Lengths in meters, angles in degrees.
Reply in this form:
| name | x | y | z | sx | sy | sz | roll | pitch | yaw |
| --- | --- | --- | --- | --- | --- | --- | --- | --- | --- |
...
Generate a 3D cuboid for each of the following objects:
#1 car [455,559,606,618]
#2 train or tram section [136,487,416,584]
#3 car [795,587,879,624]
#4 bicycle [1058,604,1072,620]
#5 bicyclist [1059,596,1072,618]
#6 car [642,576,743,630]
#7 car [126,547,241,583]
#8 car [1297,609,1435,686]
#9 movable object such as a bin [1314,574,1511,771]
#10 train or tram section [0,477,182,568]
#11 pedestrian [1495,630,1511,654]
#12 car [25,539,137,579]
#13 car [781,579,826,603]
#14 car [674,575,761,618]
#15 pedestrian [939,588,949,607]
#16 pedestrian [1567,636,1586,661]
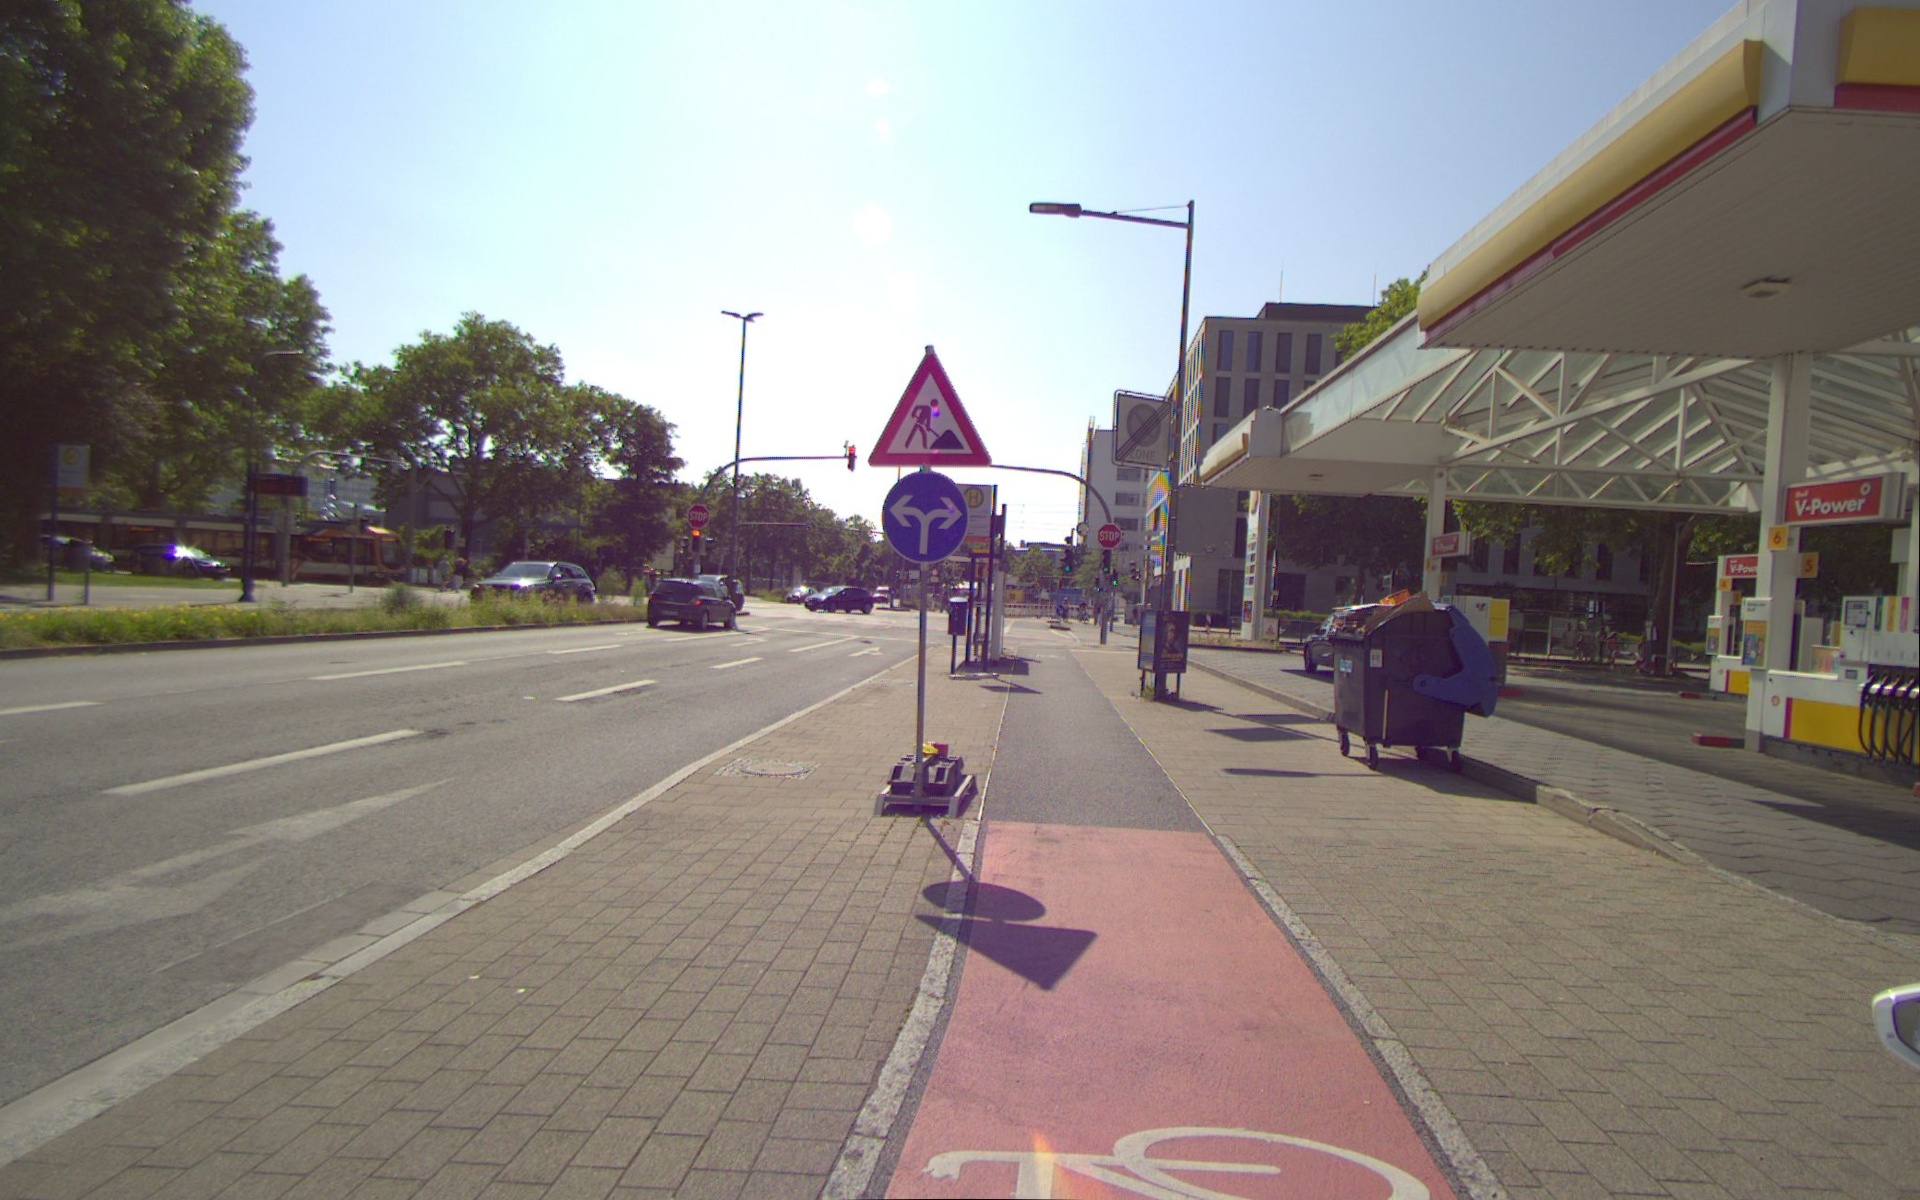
| name | x | y | z | sx | sy | sz | roll | pitch | yaw |
| --- | --- | --- | --- | --- | --- | --- | --- | --- | --- |
| car | -13.129 | -0.328 | 31.193 | 1.960 | 1.633 | 5.660 | 1 | 0 | 4 |
| train or tram section | -39.049 | -3.647 | 57.487 | 14.646 | 4.549 | 2.329 | 3 | 0 | 3 |
| car | -6.849 | 0.340 | 56.162 | 1.971 | 1.792 | 4.368 | 4 | 0 | 42 |
| bicycle | 7.834 | 0.906 | 74.939 | 0.628 | 1.096 | 2.024 | 4 | 0 | -5 |
| bicyclist | 7.852 | 0.497 | 74.958 | 0.628 | 1.601 | 1.172 | 4 | 1 | -5 |
| car | -8.039 | 0.088 | 30.528 | 1.652 | 1.384 | 4.003 | 5 | 0 | 4 |
| car | -36.713 | -1.647 | 47.552 | 3.922 | 1.533 | 1.868 | 2 | 0 | -2 |
| car | 9.235 | 1.015 | 23.199 | 1.714 | 1.552 | 4.001 | 2 | 0 | 4 |
| movable object such as a bin | 4.243 | 0.642 | 9.577 | 1.316 | 1.710 | 1.338 | 1 | 0 | 5 |
| train or tram section | -53.759 | -4.655 | 58.365 | 15.608 | 4.549 | 2.329 | 3 | 0 | 3 |
| pedestrian | 27.047 | 2.102 | 50.026 | 0.490 | 1.153 | 0.524 | 4 | 1 | 10 |
| car | -42.595 | -1.978 | 48.735 | 3.919 | 1.712 | 1.870 | 2 | 0 | 5 |
| car | -12.538 | -0.715 | 80.789 | 1.960 | 1.727 | 4.001 | 4 | 0 | 18 |
| car | -11.327 | -0.136 | 47.322 | 1.960 | 1.792 | 4.392 | 4 | 0 | 17 |
| pedestrian | -1.270 | -0.194 | 79.950 | 0.554 | 1.488 | 0.513 | 4 | 1 | 19 |
| pedestrian | 30.595 | 2.401 | 49.856 | 0.617 | 1.153 | 0.524 | 4 | 1 | 10 |
